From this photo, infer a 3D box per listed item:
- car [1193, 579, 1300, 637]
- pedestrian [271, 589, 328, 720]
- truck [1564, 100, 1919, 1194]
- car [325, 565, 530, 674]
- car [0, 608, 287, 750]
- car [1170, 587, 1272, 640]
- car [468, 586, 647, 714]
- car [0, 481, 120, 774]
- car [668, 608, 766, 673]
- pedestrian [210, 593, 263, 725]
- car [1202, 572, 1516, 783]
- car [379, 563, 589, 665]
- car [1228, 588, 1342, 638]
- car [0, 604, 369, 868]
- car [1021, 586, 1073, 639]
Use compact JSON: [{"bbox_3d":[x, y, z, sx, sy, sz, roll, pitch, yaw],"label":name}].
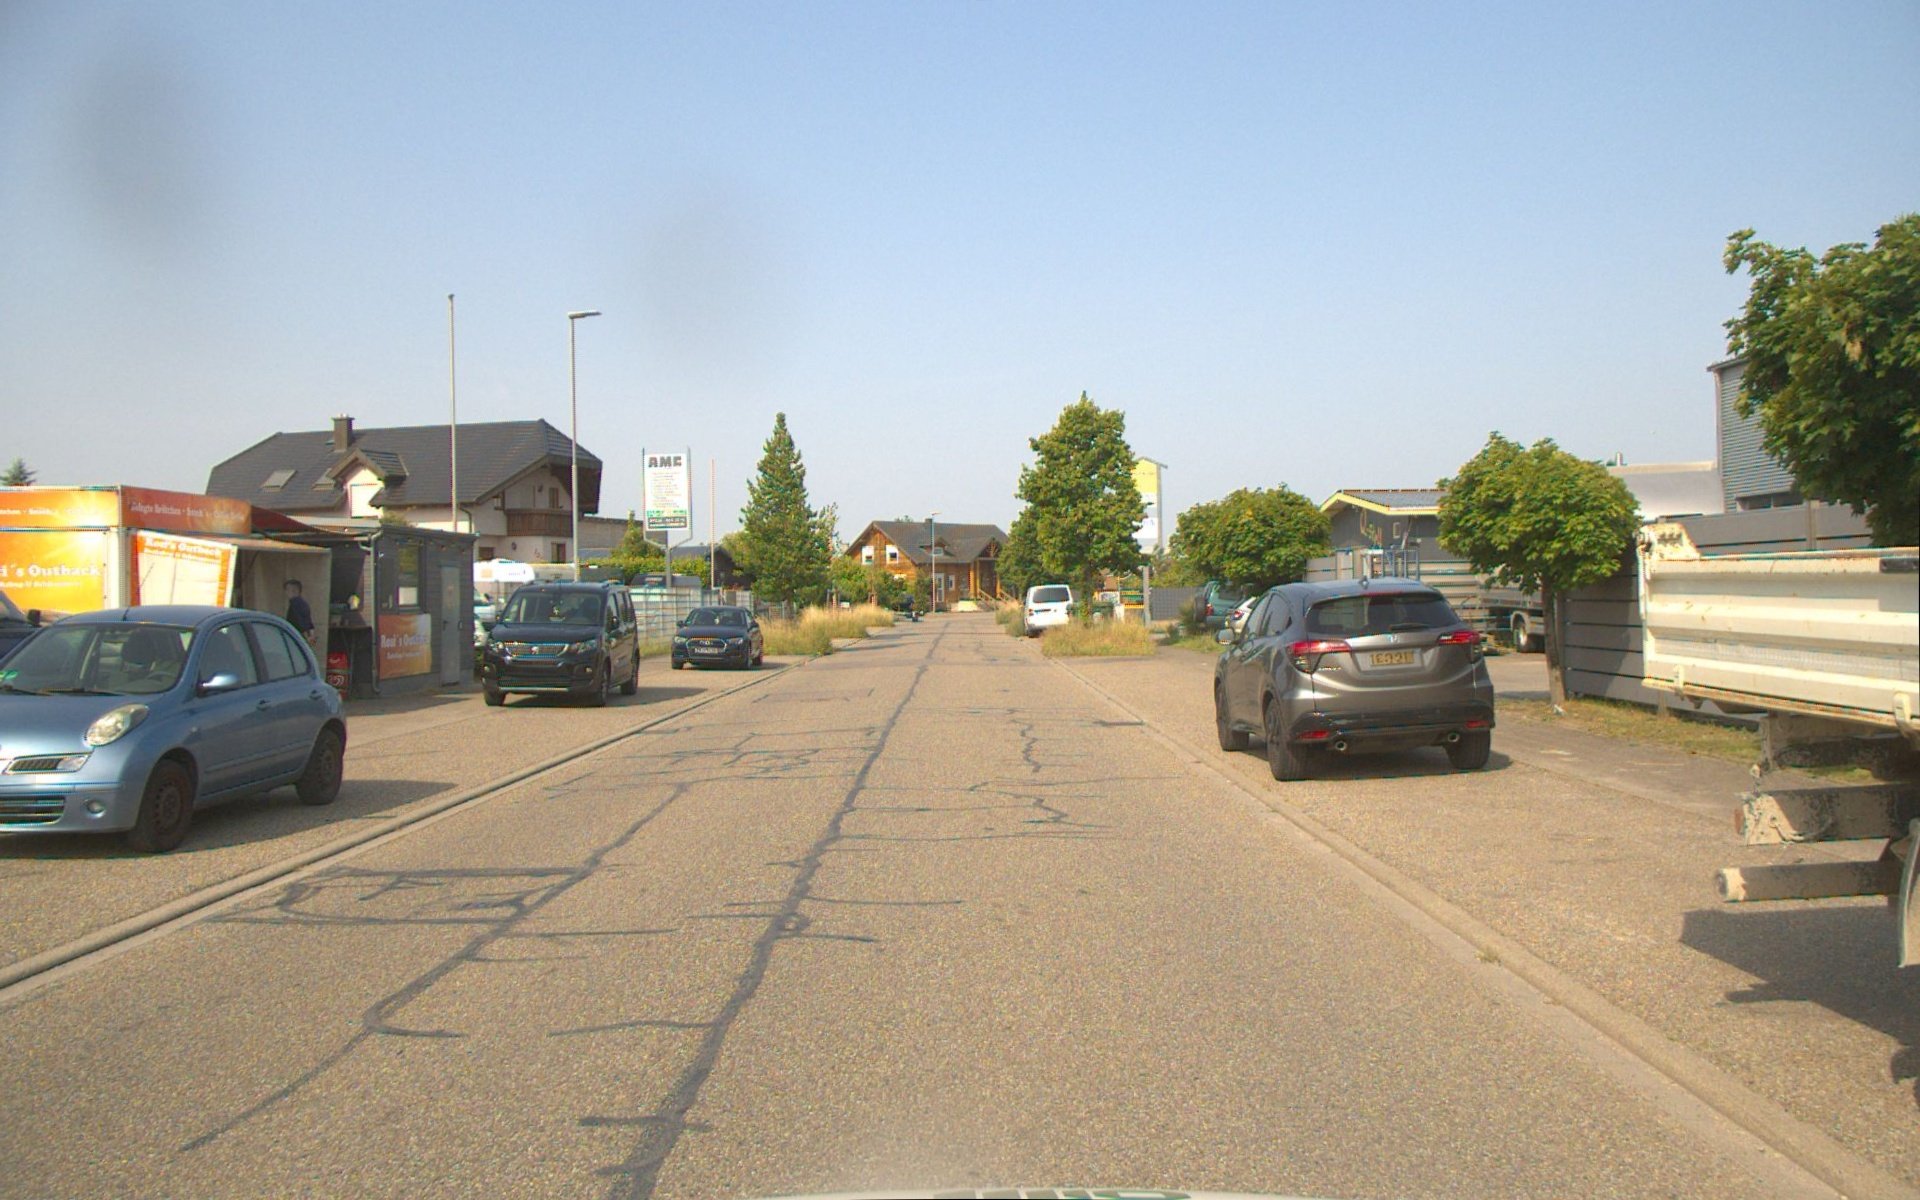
[{"bbox_3d":[8.611,0.234,49.825,3.076,1.607,1.393,-2,0,8],"label":"car"},{"bbox_3d":[-9.000,0.727,22.534,0.558,1.745,0.527,-1,0,-38],"label":"pedestrian"},{"bbox_3d":[3.621,0.089,2.916,2.312,2.728,6.506,-2,0,-4],"label":"truck"},{"bbox_3d":[-13.849,0.515,43.066,4.703,2.631,2.146,-2,0,21],"label":"car"},{"bbox_3d":[-9.381,0.820,17.843,3.516,1.439,1.761,0,0,-4],"label":"car"},{"bbox_3d":[8.168,0.409,51.846,3.076,1.548,1.393,-2,0,8],"label":"car"},{"bbox_3d":[-6.100,0.709,25.564,1.763,1.805,4.202,1,0,-1],"label":"car"},{"bbox_3d":[-10.290,0.287,14.750,4.530,2.459,2.001,-2,0,2],"label":"car"},{"bbox_3d":[-5.590,0.902,38.441,1.763,1.411,3.637,1,0,-1],"label":"car"},{"bbox_3d":[-9.592,0.777,21.938,0.399,1.717,0.540,-2,0,4],"label":"pedestrian"},{"bbox_3d":[3.394,0.598,14.846,1.758,1.588,3.999,-2,0,-1],"label":"car"},{"bbox_3d":[-13.330,0.382,46.393,5.050,2.631,2.577,-2,0,21],"label":"car"},{"bbox_3d":[9.282,0.367,47.388,3.076,1.288,1.393,-2,0,8],"label":"car"},{"bbox_3d":[-5.658,0.808,11.590,1.599,1.544,3.606,0,0,2],"label":"car"},{"bbox_3d":[3.377,0.487,64.715,1.800,1.957,3.756,-2,0,0],"label":"car"}]
